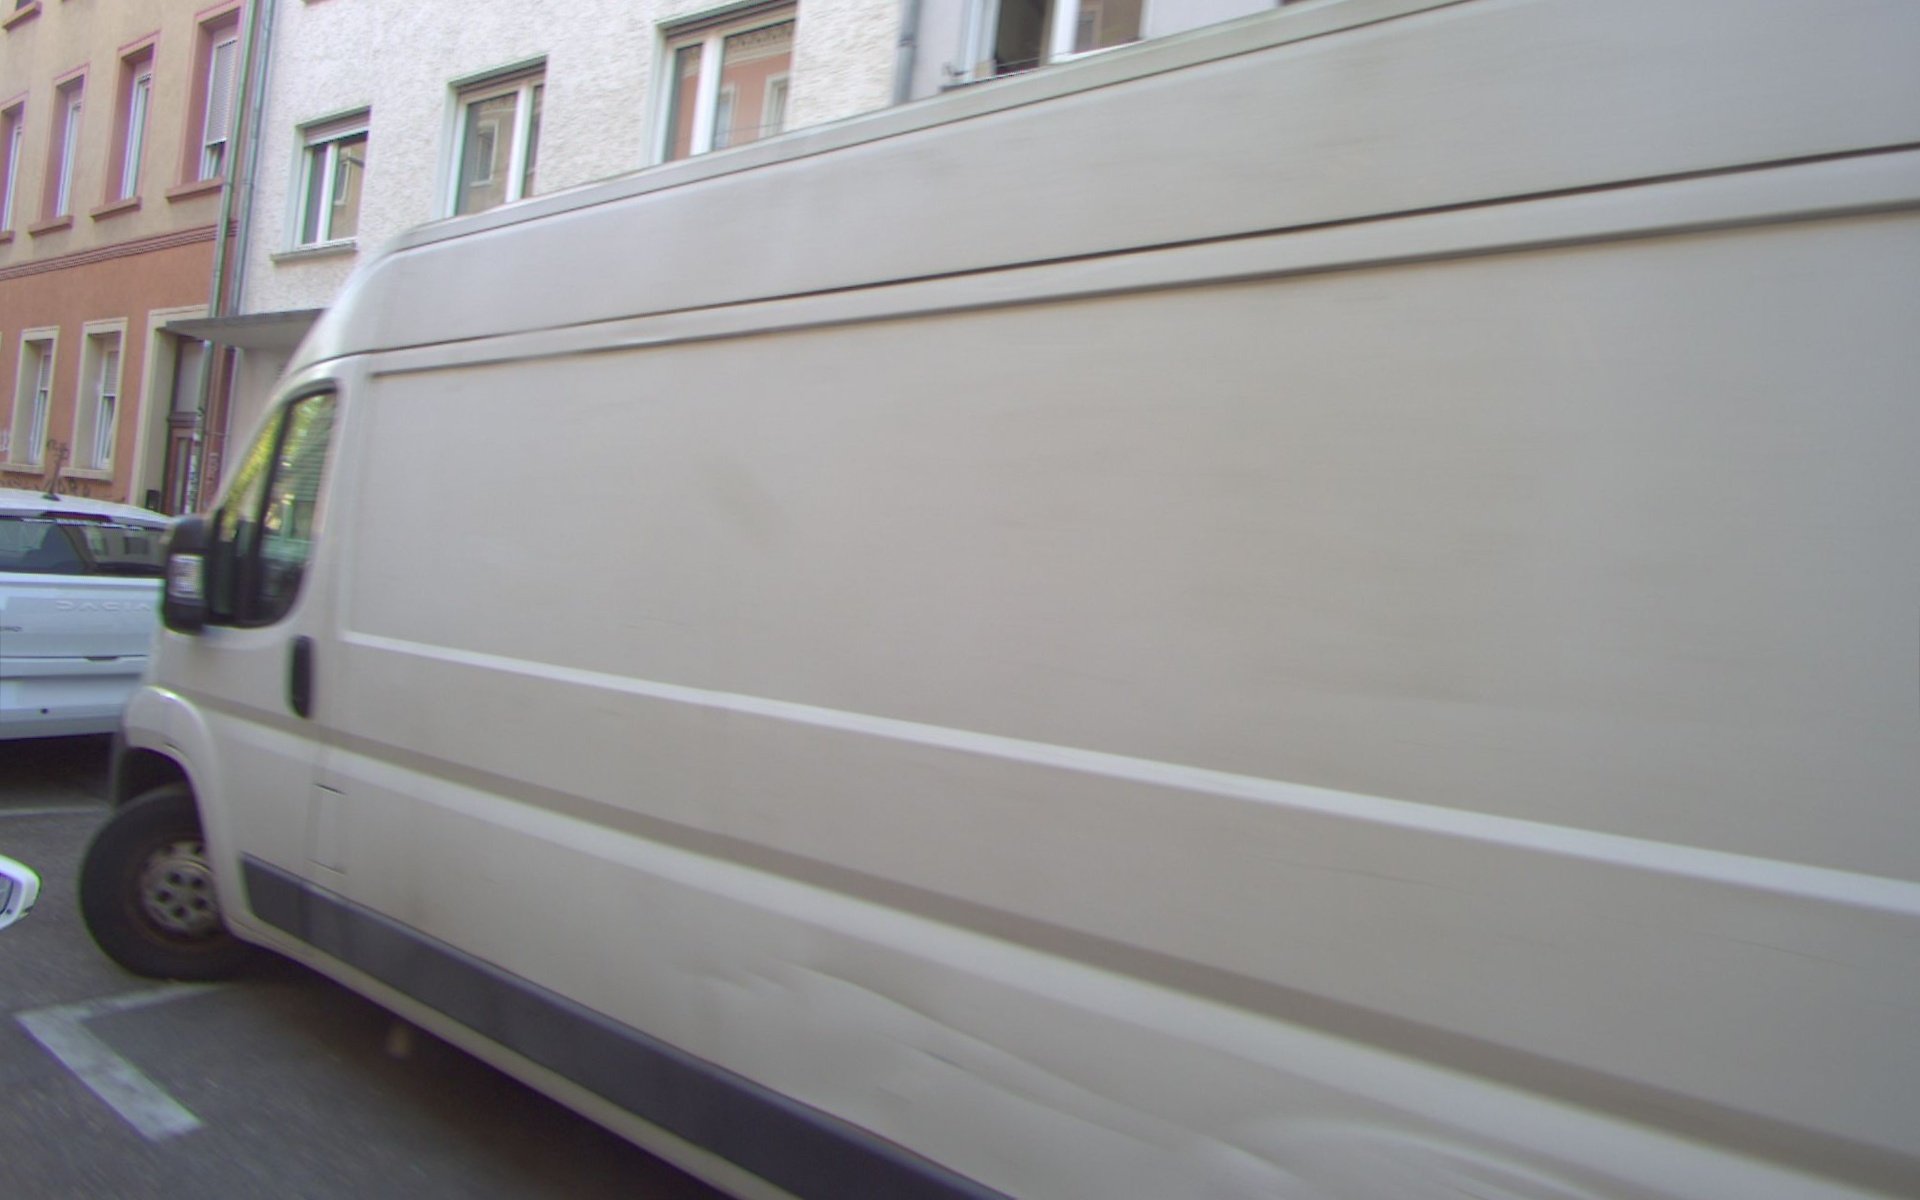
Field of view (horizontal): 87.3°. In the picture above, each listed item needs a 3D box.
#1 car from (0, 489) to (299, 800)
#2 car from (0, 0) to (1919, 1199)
[{"bbox_3d":[-6.100,0.047,6.113,3.951,1.488,1.734,7,0,28],"label":"car"},{"bbox_3d":[-0.394,0.252,2.995,5.935,2.582,2.207,7,0,31],"label":"car"}]
